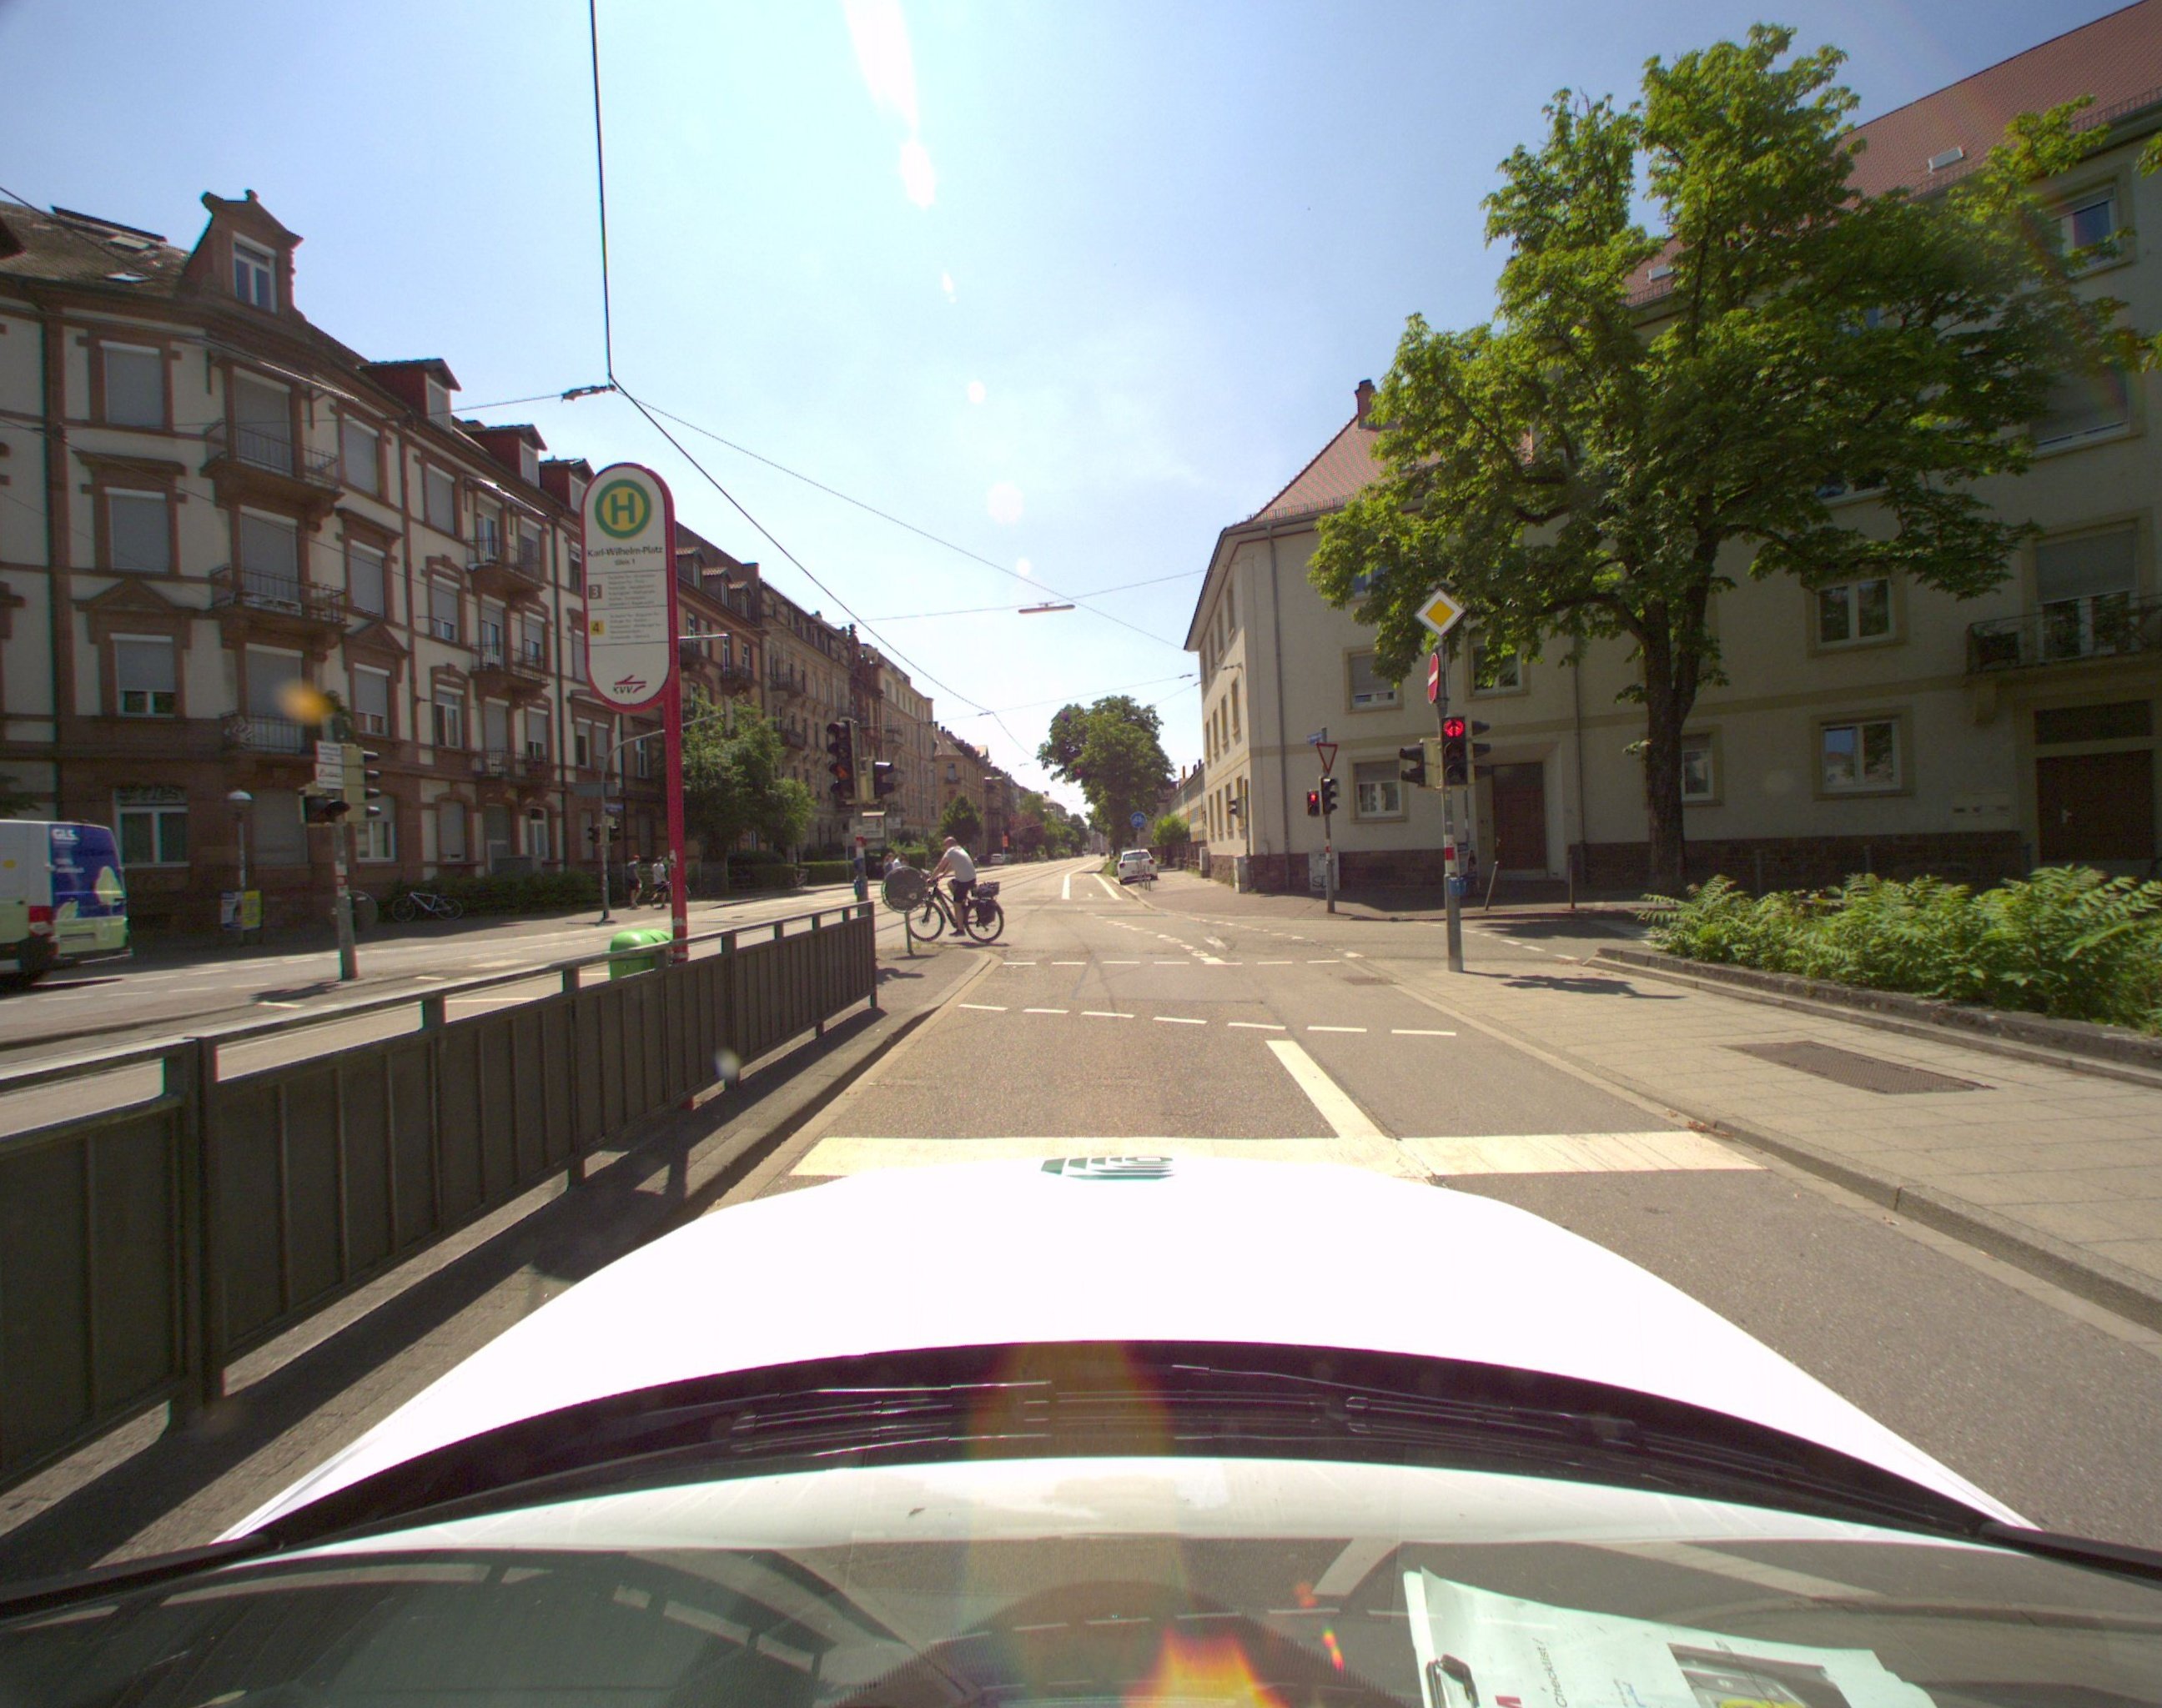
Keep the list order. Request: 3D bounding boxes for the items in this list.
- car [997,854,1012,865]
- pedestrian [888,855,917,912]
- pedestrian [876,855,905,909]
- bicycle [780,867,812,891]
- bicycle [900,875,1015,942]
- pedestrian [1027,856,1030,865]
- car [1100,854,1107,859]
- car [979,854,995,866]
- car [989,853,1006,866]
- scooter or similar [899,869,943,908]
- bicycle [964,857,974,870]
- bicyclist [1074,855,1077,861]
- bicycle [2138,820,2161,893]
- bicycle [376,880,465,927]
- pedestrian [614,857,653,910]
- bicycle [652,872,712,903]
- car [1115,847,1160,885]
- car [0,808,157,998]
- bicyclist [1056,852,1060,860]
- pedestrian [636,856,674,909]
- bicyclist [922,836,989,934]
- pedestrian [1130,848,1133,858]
[{"bbox_3d":[-11.654,0.866,124.314,1.912,1.715,4.001,0,-1,2],"label":"car"},{"bbox_3d":[-5.212,0.867,23.798,0.671,1.645,0.560,-1,-1,7],"label":"pedestrian"},{"bbox_3d":[-5.801,0.847,24.823,0.671,1.645,0.560,-1,-1,7],"label":"pedestrian"},{"bbox_3d":[-14.405,1.252,41.239,0.936,1.136,2.767,0,-1,-7],"label":"bicycle"},{"bbox_3d":[-2.070,0.913,13.705,1.747,1.057,0.703,-2,-1,17],"label":"bicycle"},{"bbox_3d":[-8.861,1.018,136.412,0.404,1.461,0.436,-2,0,1],"label":"pedestrian"},{"bbox_3d":[6.686,0.736,240.701,1.818,1.519,4.001,0,-1,2],"label":"car"},{"bbox_3d":[-14.327,0.887,124.452,1.912,1.715,4.001,0,-1,2],"label":"car"},{"bbox_3d":[-11.875,0.802,116.050,1.912,1.715,4.001,0,-1,2],"label":"car"},{"bbox_3d":[-4.851,1.056,24.753,1.196,1.155,0.559,0,-1,2],"label":"scooter or similar"},{"bbox_3d":[-11.704,0.951,85.121,0.675,1.278,1.918,-2,0,-1],"label":"bicycle"},{"bbox_3d":[-1.525,1.051,213.779,0.724,1.818,1.080,0,-1,3],"label":"bicyclist"},{"bbox_3d":[17.016,0.017,12.069,0.527,1.104,1.589,-2,0,-34],"label":"bicycle"},{"bbox_3d":[-19.549,1.438,24.145,0.557,1.294,1.975,-1,-1,43],"label":"bicycle"},{"bbox_3d":[-15.787,1.015,28.726,0.812,1.822,0.875,0,1,6],"label":"pedestrian"},{"bbox_3d":[-15.664,1.299,32.067,0.934,1.136,2.774,0,-1,1],"label":"bicycle"},{"bbox_3d":[2.531,0.527,37.406,1.808,1.516,4.001,-4,-1,2],"label":"car"},{"bbox_3d":[-17.871,0.793,11.514,5.838,2.673,2.255,-2,0,-26],"label":"car"},{"bbox_3d":[-4.835,0.482,169.675,0.724,1.629,1.080,0,-1,3],"label":"bicyclist"},{"bbox_3d":[-15.018,1.005,28.758,0.812,1.822,0.875,0,1,6],"label":"pedestrian"},{"bbox_3d":[-2.102,0.509,13.707,0.840,1.592,0.703,-2,-1,17],"label":"bicyclist"},{"bbox_3d":[8.167,-0.169,131.642,0.519,1.562,0.573,-2,0,1],"label":"pedestrian"}]
